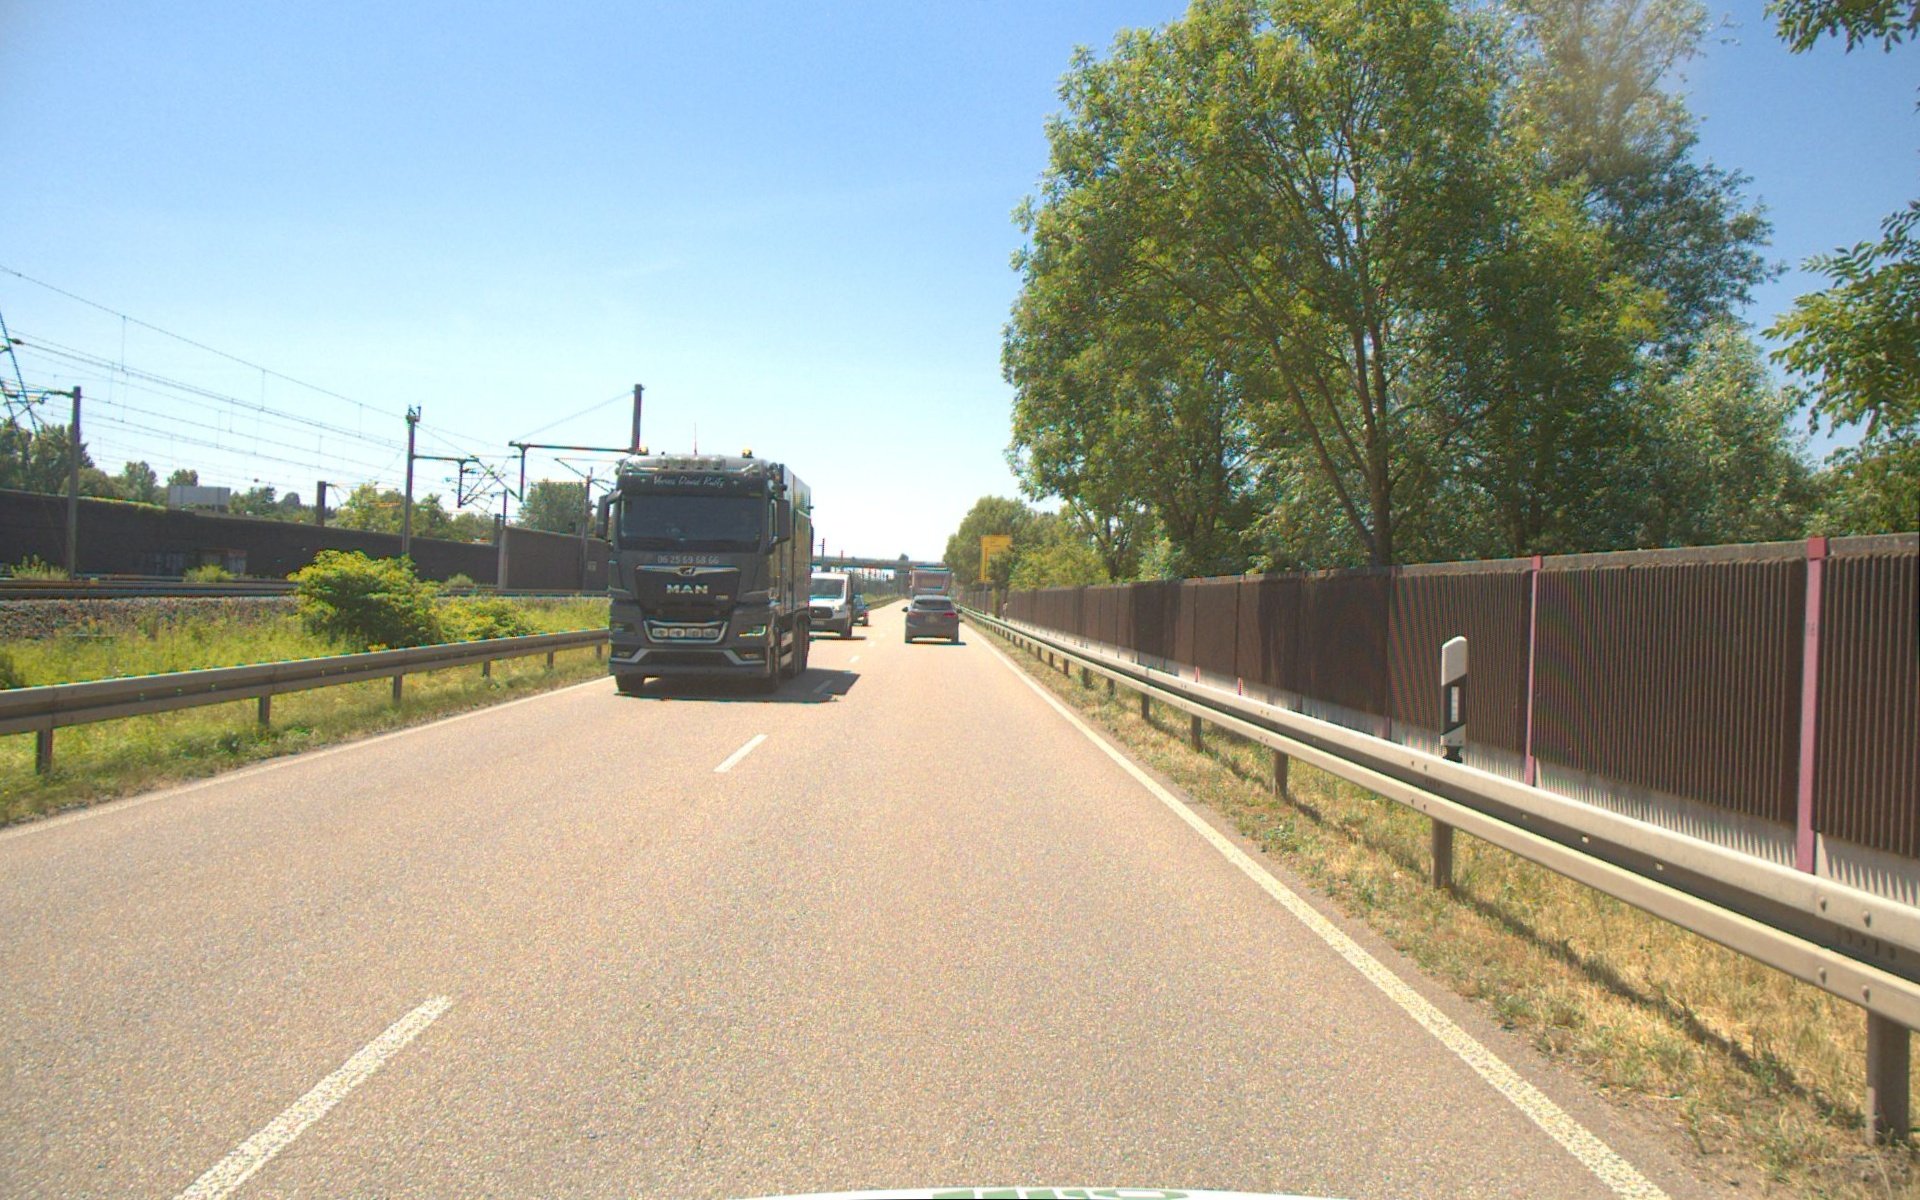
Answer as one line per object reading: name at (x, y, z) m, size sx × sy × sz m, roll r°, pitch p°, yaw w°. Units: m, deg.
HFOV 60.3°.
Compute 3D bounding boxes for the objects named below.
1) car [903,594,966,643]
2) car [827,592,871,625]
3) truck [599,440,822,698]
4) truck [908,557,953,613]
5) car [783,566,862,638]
car at (-0.901, 0.585, 55.379) m, size 1.954 × 1.534 × 3.998 m, roll 1°, pitch 0°, yaw -3°
car at (-5.512, 0.407, 82.297) m, size 1.935 × 1.534 × 4.161 m, roll 1°, pitch 0°, yaw -1°
truck at (-4.096, -0.498, 29.607) m, size 2.604 × 3.690 × 10.973 m, roll 1°, pitch 0°, yaw -2°
truck at (-1.948, -0.963, 108.813) m, size 2.714 × 3.485 × 10.817 m, roll 1°, pitch 0°, yaw -1°
car at (-4.745, 0.051, 58.090) m, size 2.215 × 2.327 × 6.235 m, roll 1°, pitch 0°, yaw 0°
